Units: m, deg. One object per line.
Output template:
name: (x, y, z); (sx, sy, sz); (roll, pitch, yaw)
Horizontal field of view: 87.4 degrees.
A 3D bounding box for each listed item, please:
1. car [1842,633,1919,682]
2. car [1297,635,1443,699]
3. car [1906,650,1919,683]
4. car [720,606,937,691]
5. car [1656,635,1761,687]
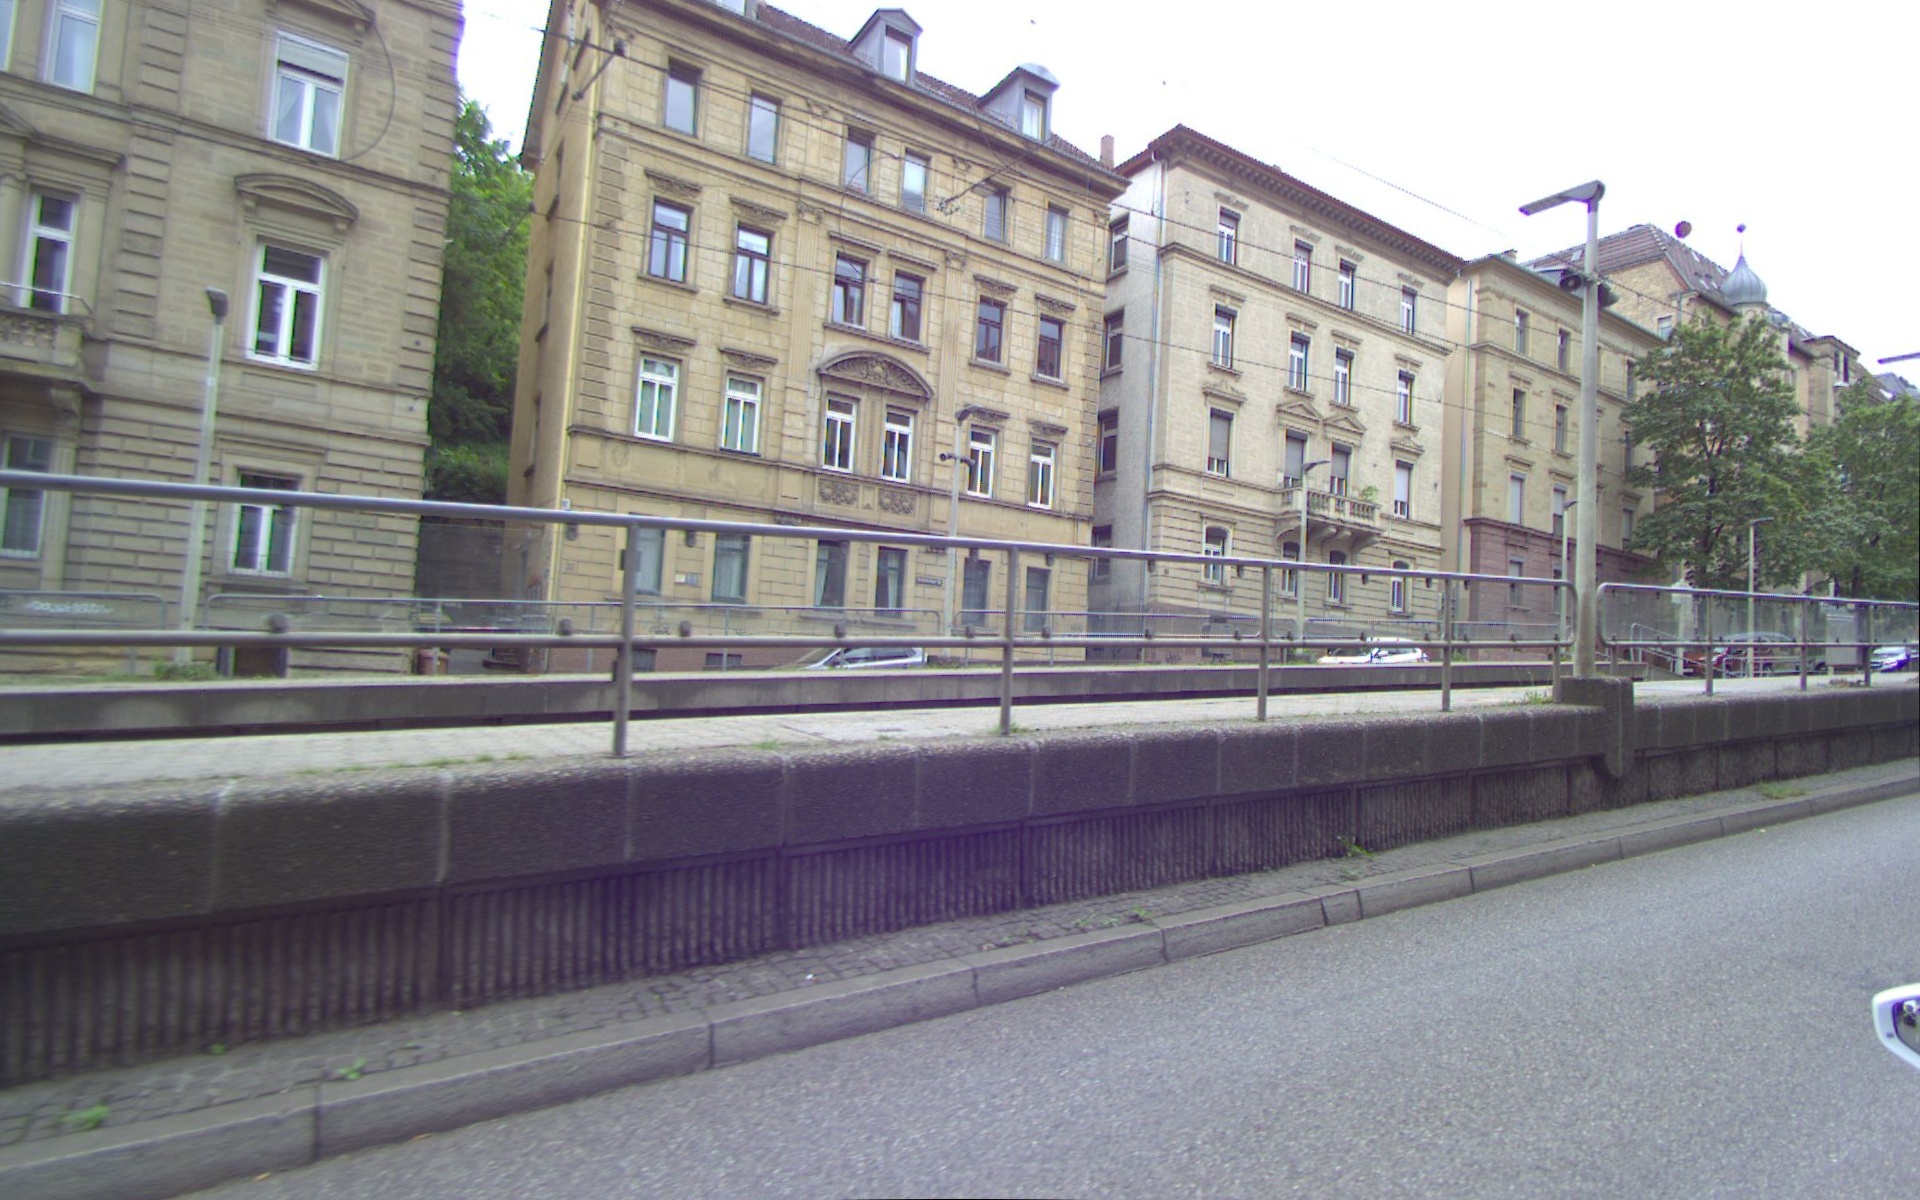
car: (35.664, 2.177, 38.368); (4.525, 1.758, 1.700); (2, -2, -32)
car: (11.761, 1.885, 28.779); (3.956, 1.701, 1.925); (2, -3, -32)
car: (44.532, 2.984, 45.304); (4.170, 1.466, 1.670); (2, -3, -31)
car: (-2.619, 0.962, 20.213); (3.956, 1.548, 1.868); (1, -3, -32)
car: (28.128, 2.256, 37.721); (4.094, 1.884, 1.838); (2, -2, -33)
